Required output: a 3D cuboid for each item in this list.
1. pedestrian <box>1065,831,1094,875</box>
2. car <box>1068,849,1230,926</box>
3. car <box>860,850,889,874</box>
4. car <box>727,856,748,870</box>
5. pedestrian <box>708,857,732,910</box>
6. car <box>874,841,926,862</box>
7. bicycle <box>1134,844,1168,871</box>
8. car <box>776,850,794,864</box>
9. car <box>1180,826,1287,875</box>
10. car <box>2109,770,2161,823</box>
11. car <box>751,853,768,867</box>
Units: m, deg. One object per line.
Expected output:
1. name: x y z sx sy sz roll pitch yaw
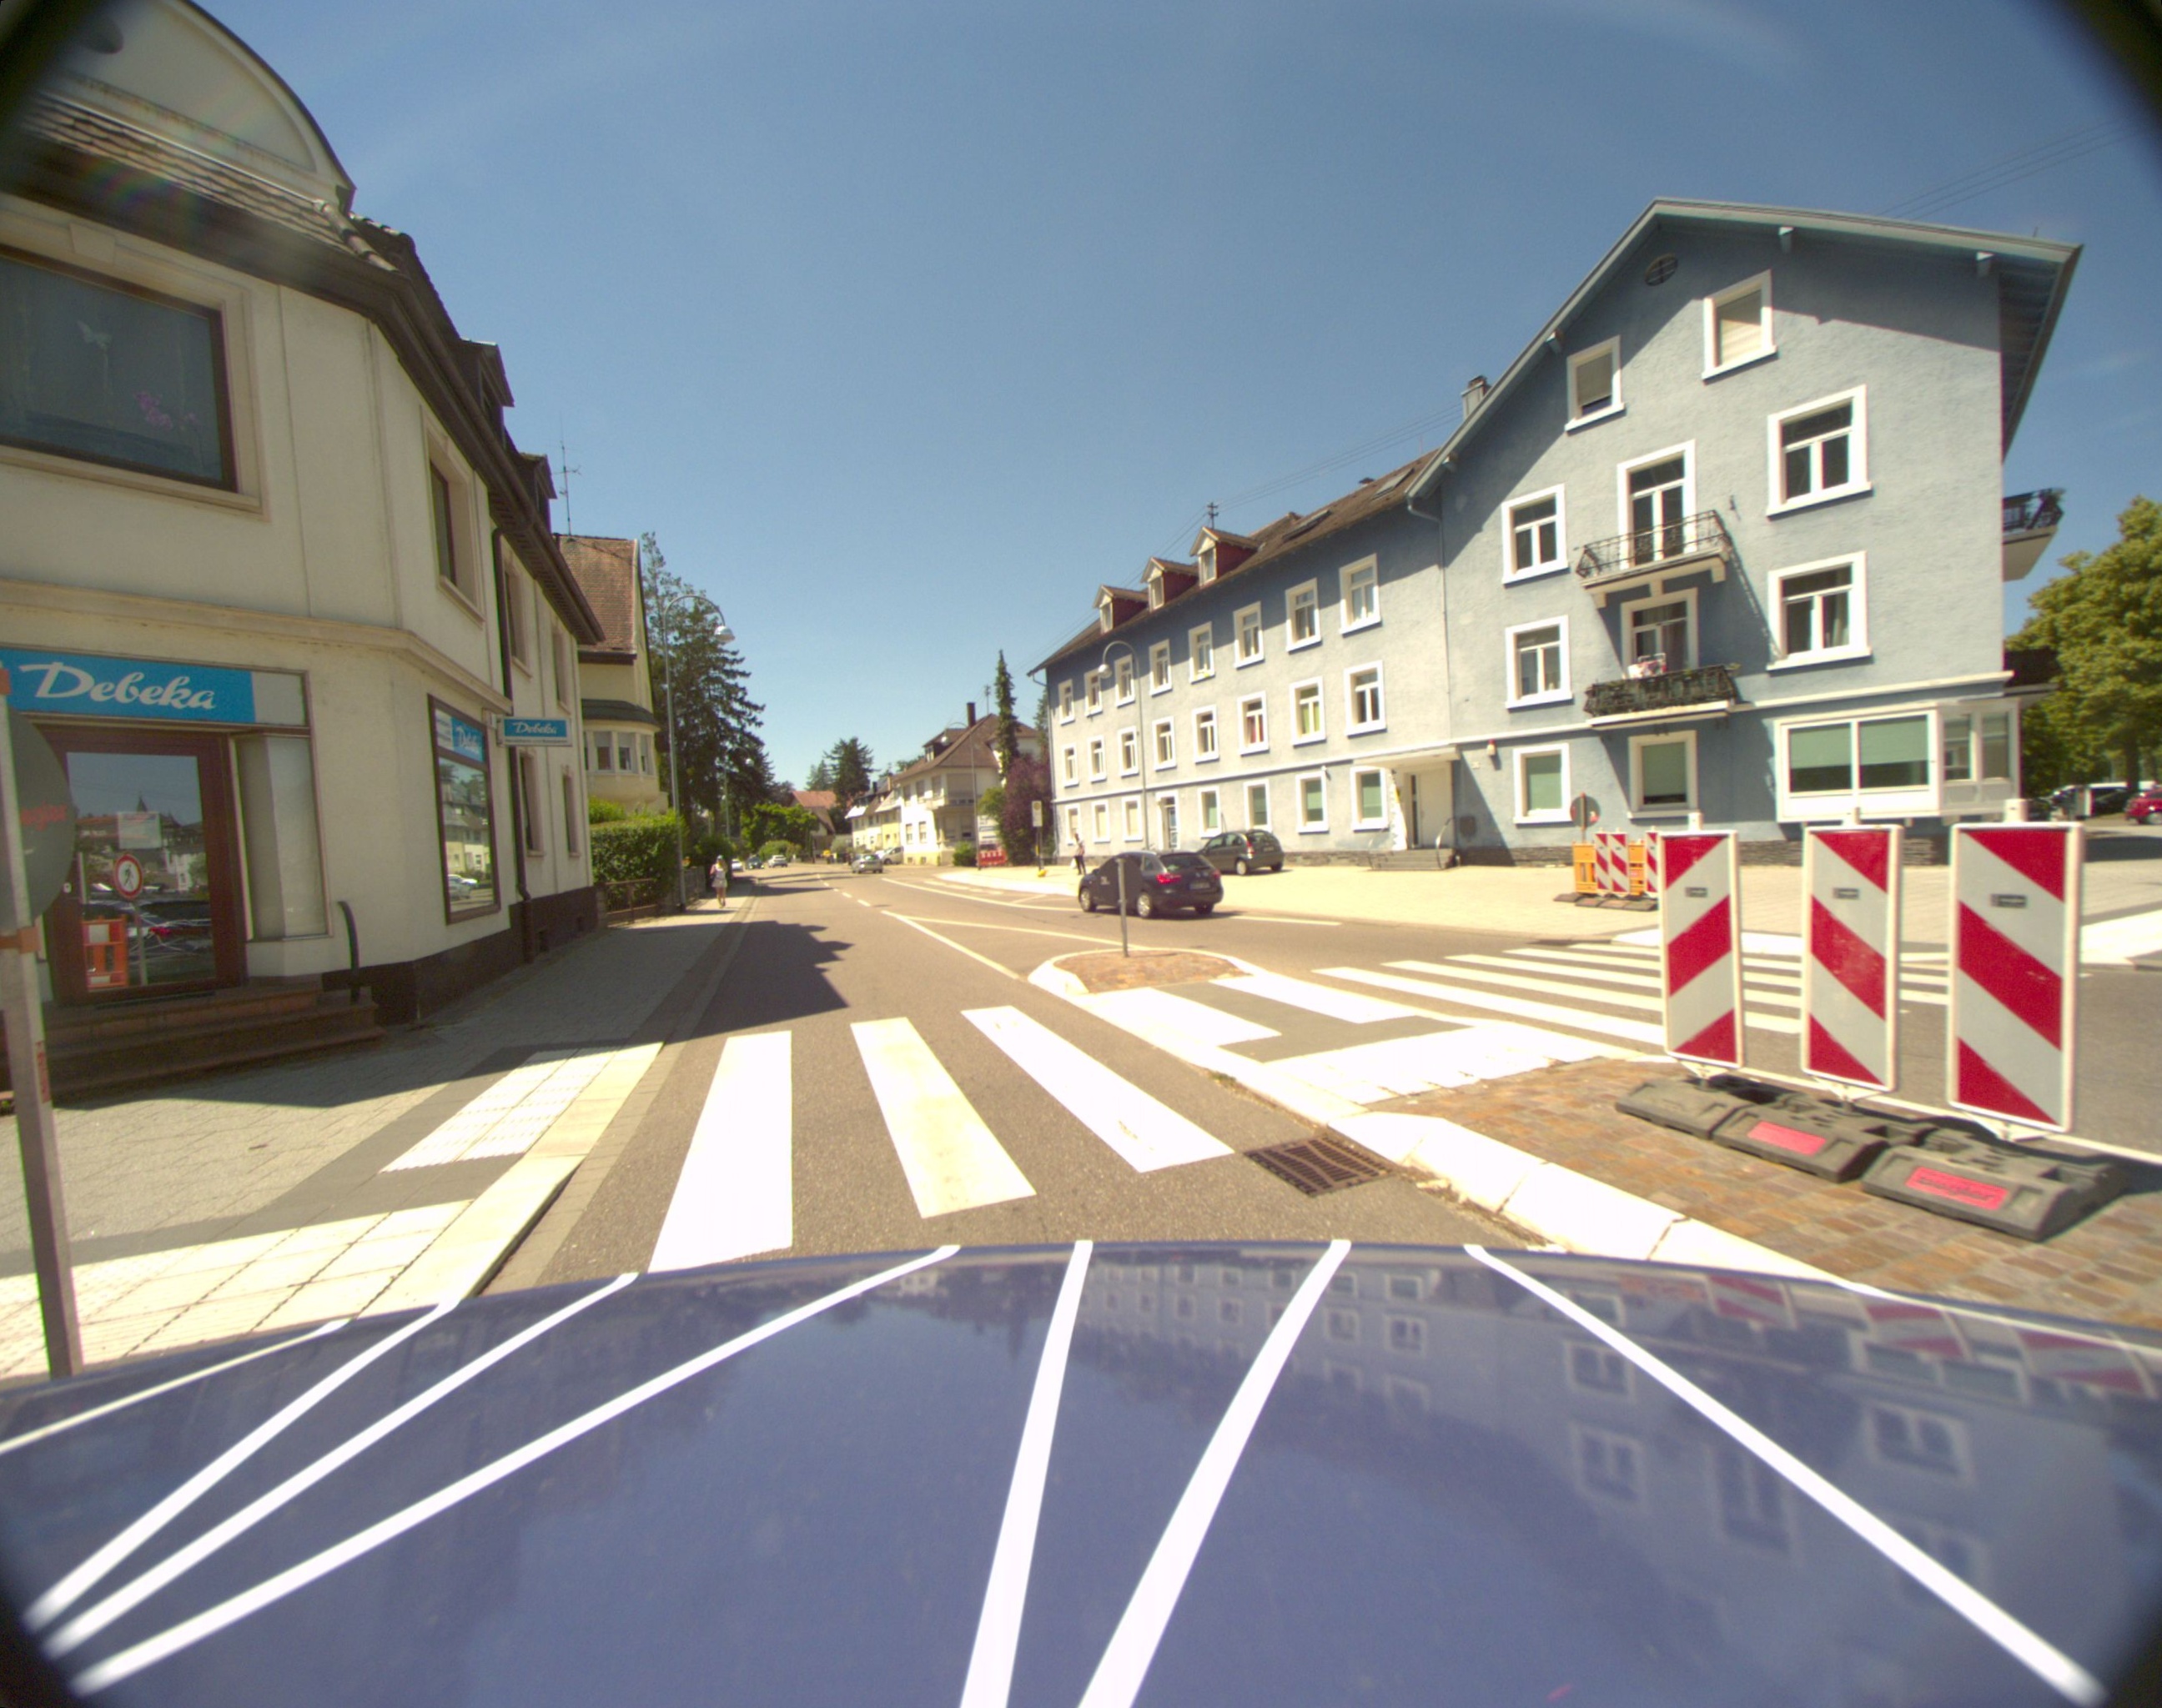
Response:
1. pedestrian: -0.070 -0.030 33.238 0.759 1.838 0.770 -8 4 -30
2. car: 1.367 0.668 16.980 1.667 1.444 4.014 -3 1 -27
3. car: -15.199 0.620 55.851 1.845 1.520 4.388 1 -3 -17
4. car: -38.829 1.035 85.878 1.692 1.447 3.730 -6 3 -30
5. pedestrian: -11.266 0.914 23.700 0.626 1.634 0.770 2 0 -26
6. car: -17.146 -0.244 71.993 4.373 1.866 1.845 -2 1 -35
7. bicycle: 2.777 0.116 30.282 0.497 0.972 1.969 -8 4 -17
8. car: -35.971 0.326 92.354 1.828 1.522 3.941 -4 3 -24
9. car: 5.275 -0.176 26.732 1.585 1.526 3.766 -4 4 -28
10. car: 44.375 -2.388 30.188 2.003 2.003 3.989 -7 4 -42
11. car: -39.249 0.727 92.698 1.691 1.447 3.732 -5 2 -23
